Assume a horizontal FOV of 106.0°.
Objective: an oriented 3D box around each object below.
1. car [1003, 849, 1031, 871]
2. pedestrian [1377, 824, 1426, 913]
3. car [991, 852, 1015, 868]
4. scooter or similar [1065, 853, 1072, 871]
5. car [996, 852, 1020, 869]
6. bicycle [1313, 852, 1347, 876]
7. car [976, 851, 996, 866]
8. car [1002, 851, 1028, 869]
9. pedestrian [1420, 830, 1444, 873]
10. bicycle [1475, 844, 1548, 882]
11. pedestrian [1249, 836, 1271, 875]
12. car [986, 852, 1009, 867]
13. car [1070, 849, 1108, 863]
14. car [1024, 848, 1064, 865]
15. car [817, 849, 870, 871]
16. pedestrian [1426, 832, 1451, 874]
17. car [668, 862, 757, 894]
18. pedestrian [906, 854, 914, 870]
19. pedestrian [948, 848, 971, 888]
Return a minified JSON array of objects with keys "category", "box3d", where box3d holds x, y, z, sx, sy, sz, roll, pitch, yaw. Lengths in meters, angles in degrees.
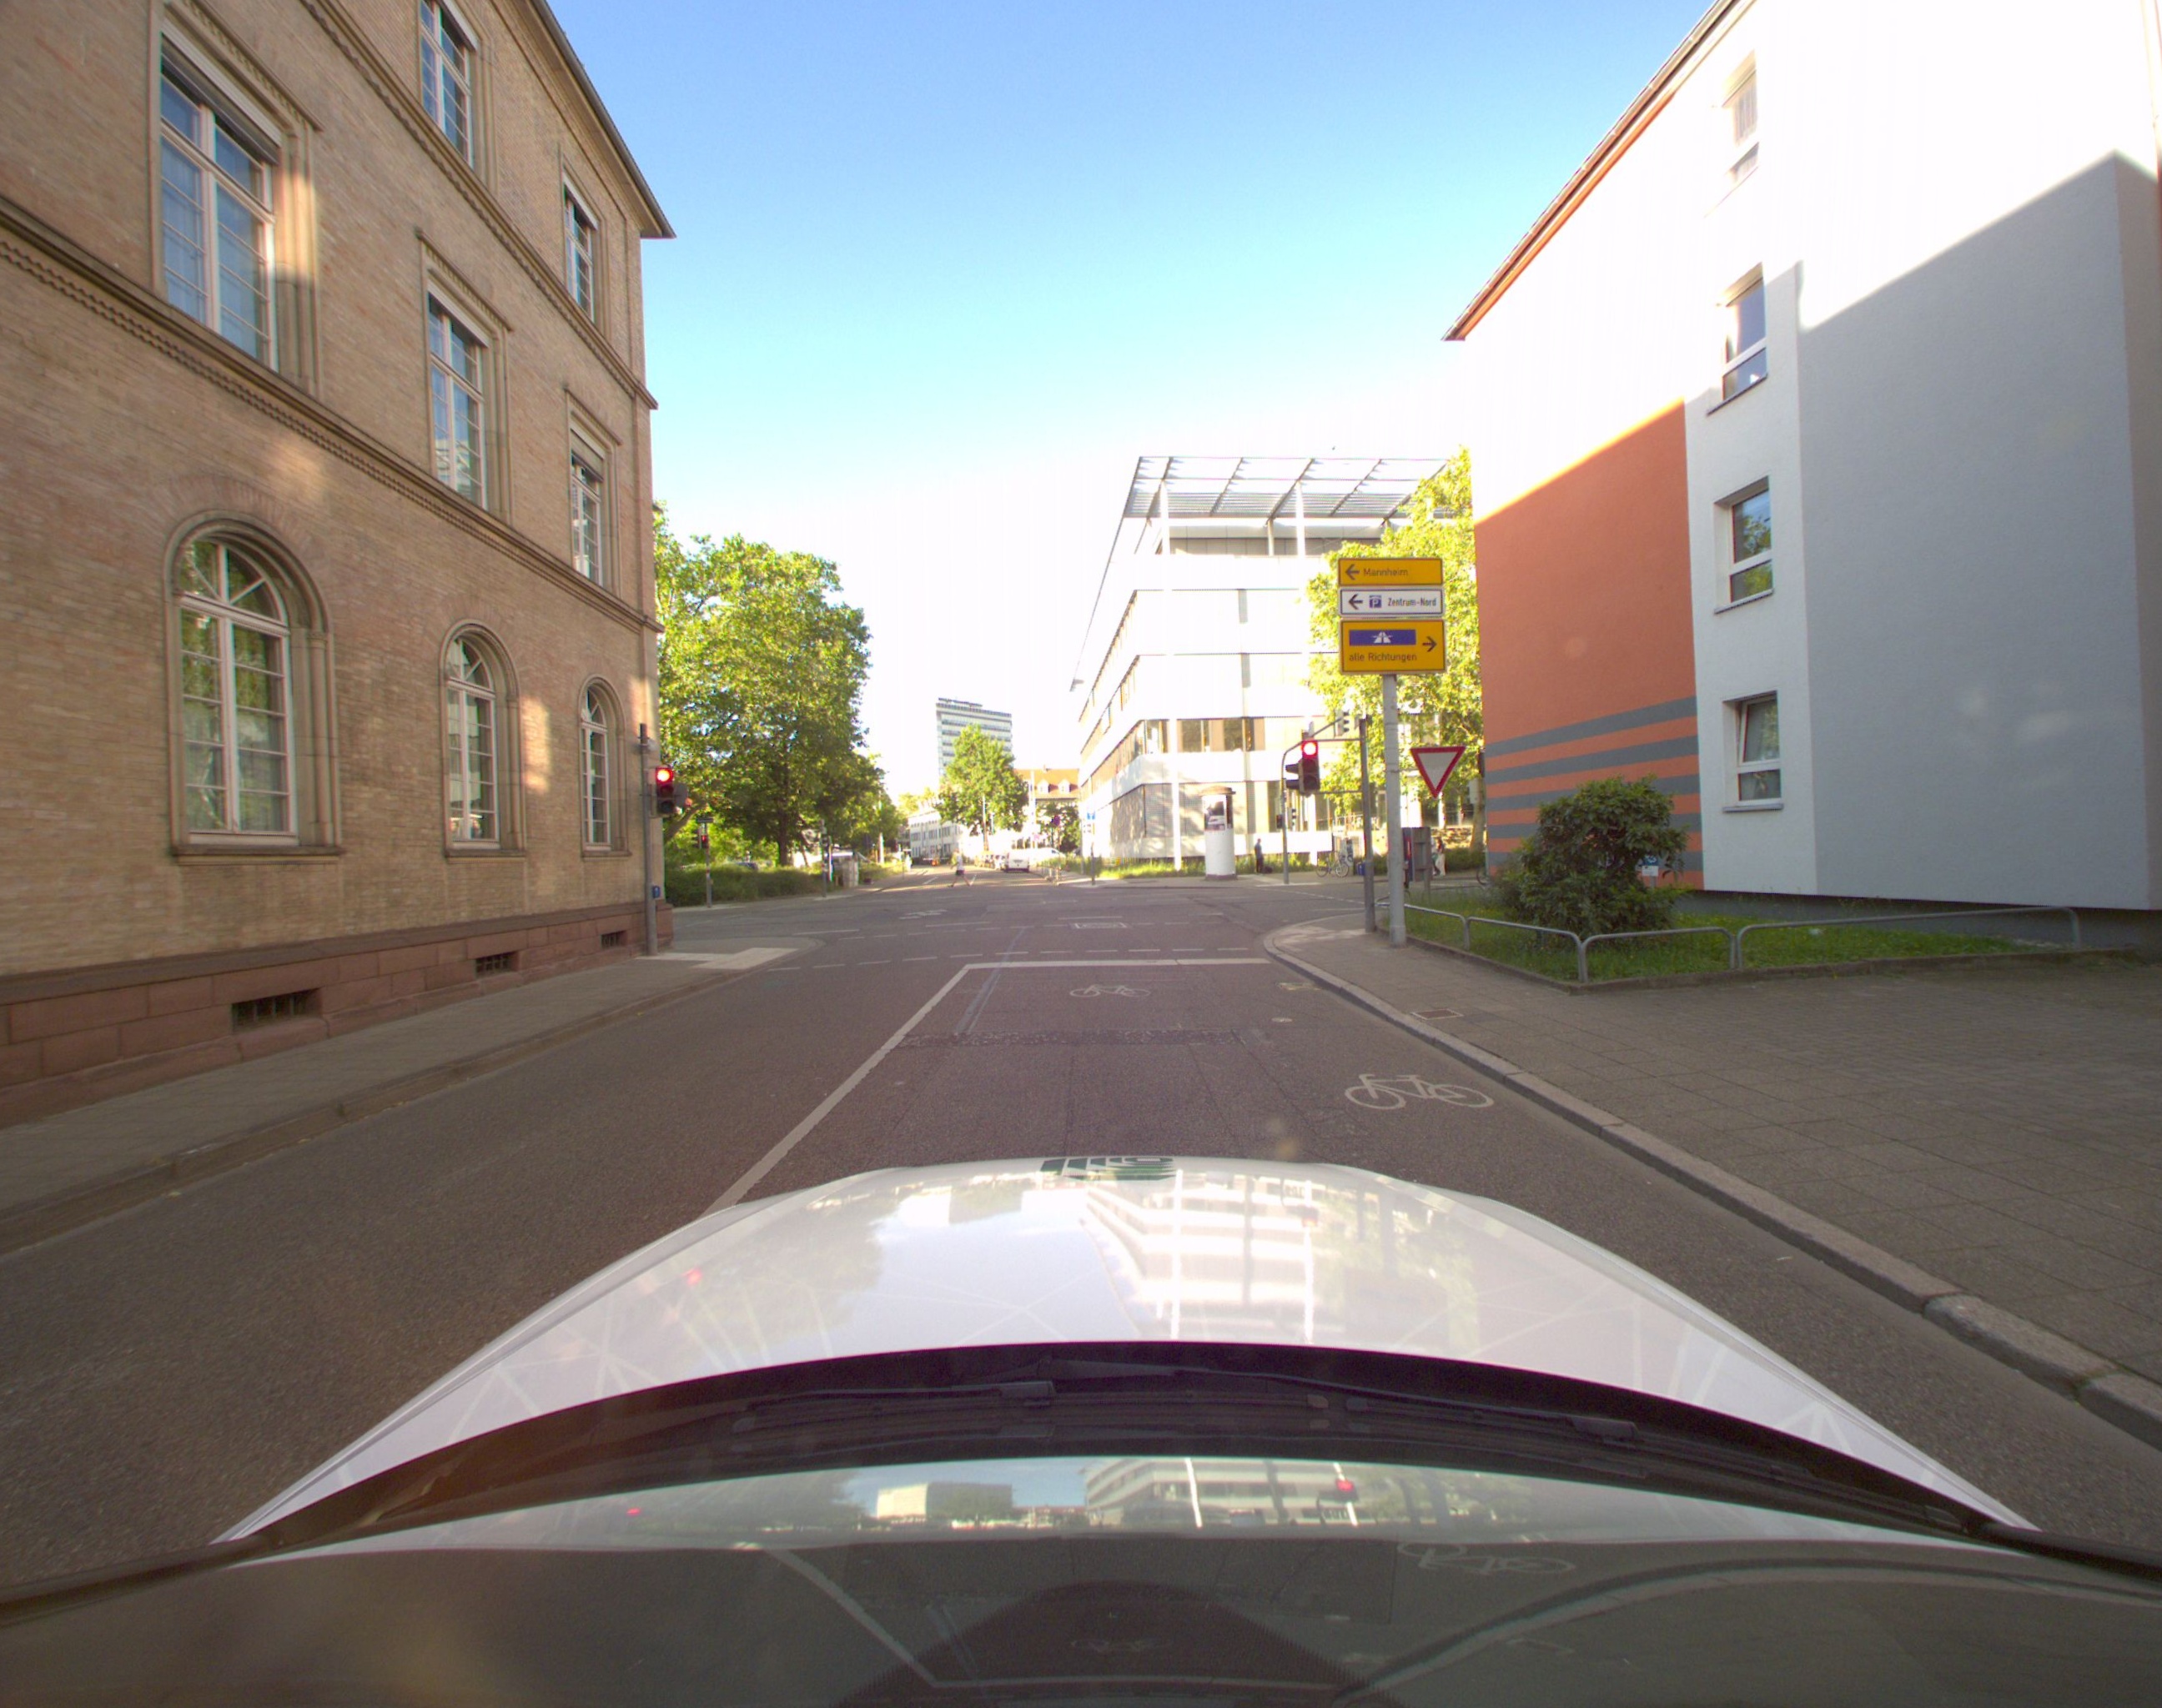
[{"category":"car","box3d":[-5.167,0.483,65.109,1.992,1.725,4.640,0,-1,-7]},{"category":"pedestrian","box3d":[6.752,0.304,17.158,0.724,1.810,0.693,0,-1,-43]},{"category":"car","box3d":[-7.836,0.604,81.617,1.994,1.499,4.270,0,-1,-11]},{"category":"scooter or similar","box3d":[-0.909,0.596,58.466,0.436,1.256,1.418,-2,0,-2]},{"category":"car","box3d":[-6.914,0.626,77.144,1.993,1.499,4.638,0,-1,-8]},{"category":"bicycle","box3d":[11.008,0.439,36.016,0.381,1.008,1.416,-2,0,-40]},{"category":"car","box3d":[-11.293,0.559,96.295,1.995,1.725,4.633,0,-1,-11]},{"category":"car","box3d":[-5.842,0.496,71.343,1.993,1.499,4.638,0,-1,-8]},{"category":"pedestrian","box3d":[14.872,-0.099,34.539,0.761,1.795,0.648,0,-1,4]},{"category":"bicycle","box3d":[13.792,0.288,26.139,1.953,1.152,0.593,-2,0,7]},{"category":"pedestrian","box3d":[8.526,0.065,38.915,0.910,1.815,0.763,0,-1,3]},{"category":"car","box3d":[-8.877,0.610,86.370,1.994,1.499,4.635,0,-1,-10]},{"category":"car","box3d":[1.031,0.286,104.946,4.644,1.725,1.990,0,-1,-15]},{"category":"car","box3d":[-4.675,0.299,103.240,4.802,2.159,1.989,0,-1,-16]},{"category":"car","box3d":[-22.019,0.539,75.761,4.441,2.014,1.995,0,-1,-8]},{"category":"pedestrian","box3d":[14.846,-0.050,33.829,0.761,1.719,0.648,0,-1,4]},{"category":"car","box3d":[-17.081,1.094,37.894,3.407,1.457,1.646,0,-1,-8]},{"category":"pedestrian","box3d":[-17.452,0.824,83.073,0.700,1.587,0.633,0,-1,-14]},{"category":"pedestrian","box3d":[-5.669,0.651,38.073,0.910,1.869,0.743,0,-1,2]}]
